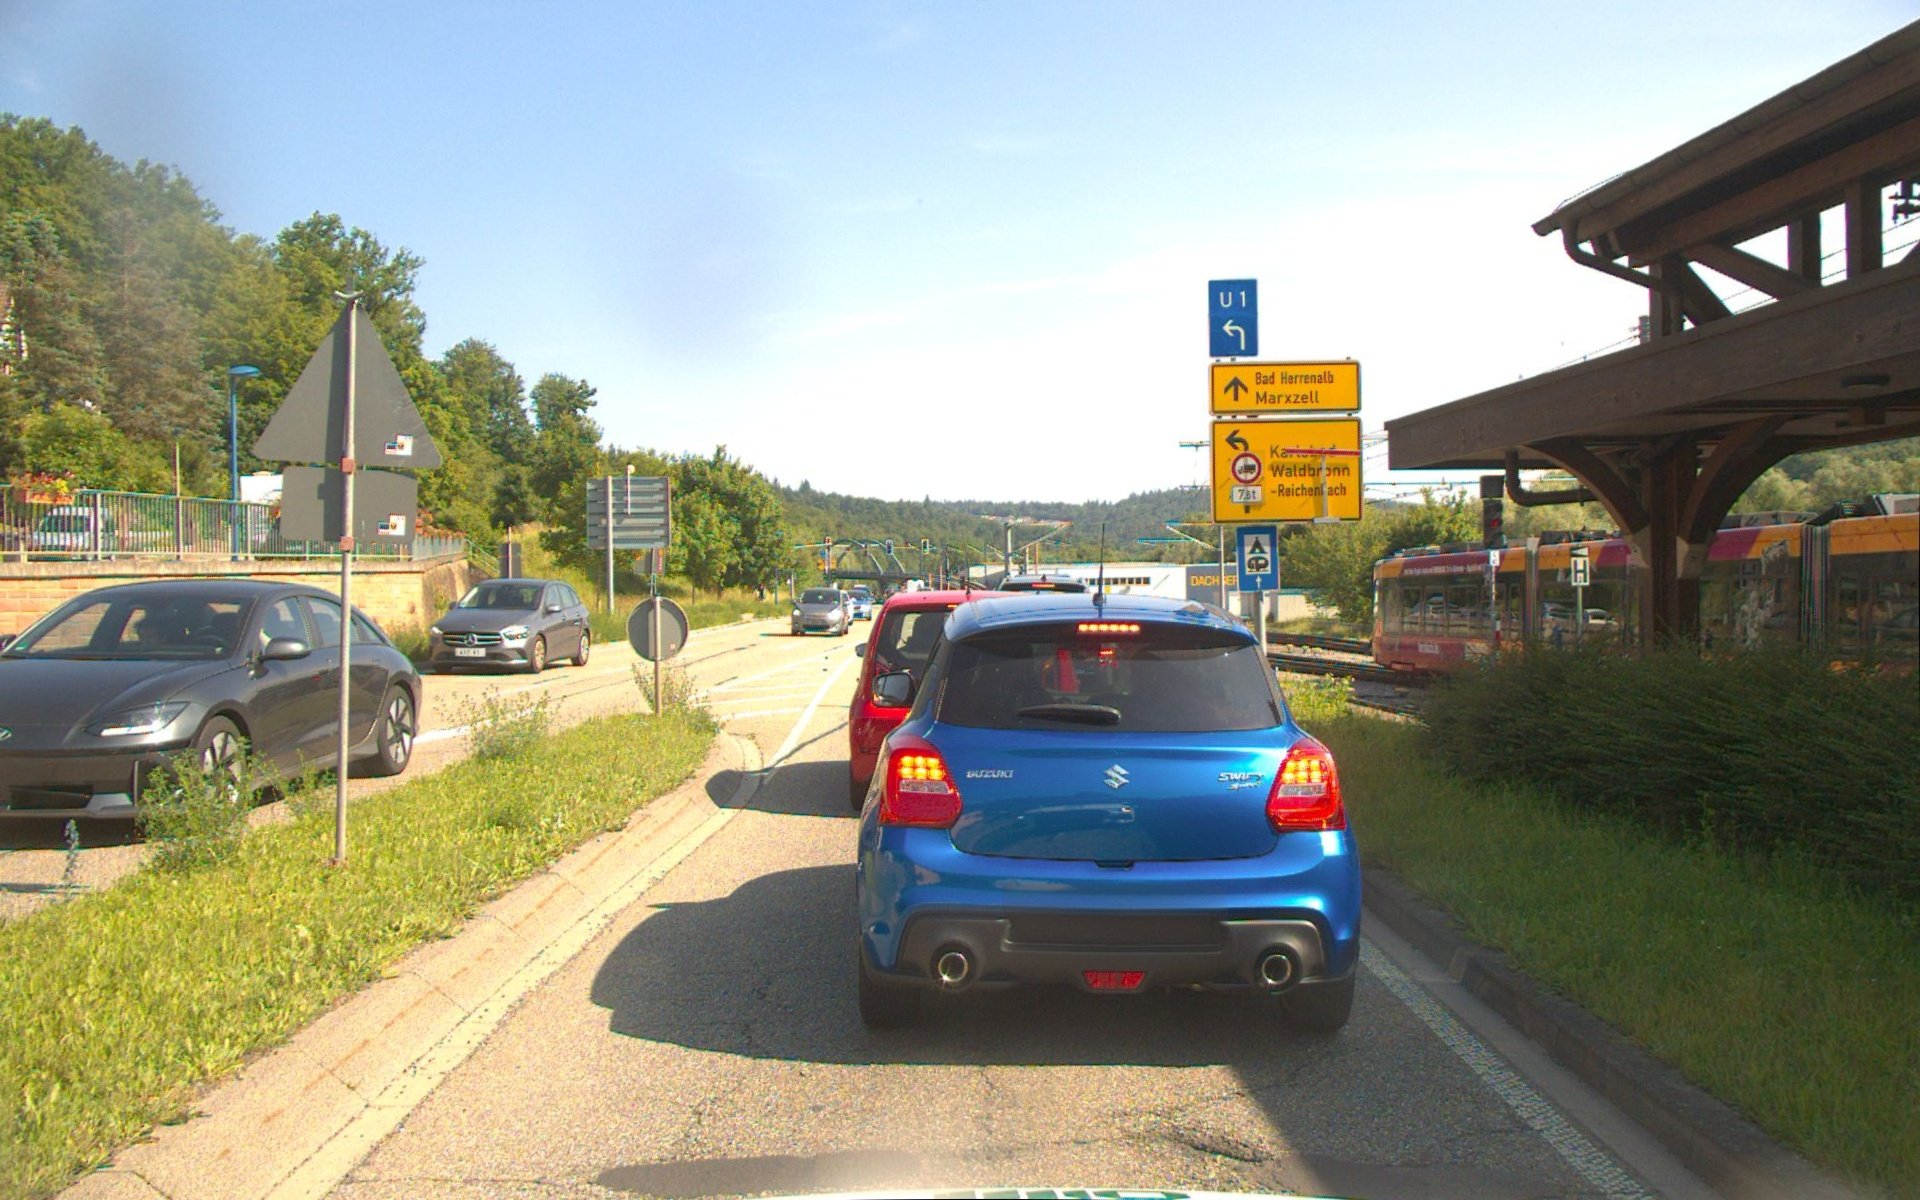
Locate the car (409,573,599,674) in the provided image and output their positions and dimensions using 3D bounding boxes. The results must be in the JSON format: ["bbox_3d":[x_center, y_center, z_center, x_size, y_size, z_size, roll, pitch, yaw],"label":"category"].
[{"bbox_3d":[-7.789,0.354,28.704,1.952,1.591,4.510,1,1,1],"label":"car"}]

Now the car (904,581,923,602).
[{"bbox_3d":[-5.077,-0.915,181.102,1.953,2.181,4.719,1,0,-1],"label":"car"}]

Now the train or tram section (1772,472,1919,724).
[{"bbox_3d":[14.609,0.014,19.006,2.799,3.423,14.345,1,0,-3],"label":"train or tram section"}]

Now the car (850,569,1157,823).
[{"bbox_3d":[0.307,0.616,12.706,1.952,1.598,4.000,1,0,1],"label":"car"}]

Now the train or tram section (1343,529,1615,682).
[{"bbox_3d":[13.251,0.031,43.810,2.701,3.422,12.041,2,1,-3],"label":"train or tram section"}]

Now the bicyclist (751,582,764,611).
[{"bbox_3d":[-10.957,-0.202,89.557,0.617,1.533,0.505,2,1,-4],"label":"bicyclist"}]

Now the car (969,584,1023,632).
[{"bbox_3d":[1.277,0.257,58.633,1.794,1.519,3.812,2,1,1],"label":"car"}]

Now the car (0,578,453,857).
[{"bbox_3d":[-5.136,0.610,11.295,1.754,1.496,4.717,0,0,2],"label":"car"}]

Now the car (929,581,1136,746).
[{"bbox_3d":[0.721,0.580,17.981,1.952,1.558,4.602,0,1,1],"label":"car"}]

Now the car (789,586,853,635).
[{"bbox_3d":[-4.364,0.317,52.362,1.637,1.466,3.840,1,0,1],"label":"car"}]

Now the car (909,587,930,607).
[{"bbox_3d":[-4.009,-0.296,162.771,1.953,1.848,4.000,2,1,-1],"label":"car"}]

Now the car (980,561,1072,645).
[{"bbox_3d":[1.470,0.056,38.112,1.952,1.766,4.000,2,1,1],"label":"car"}]

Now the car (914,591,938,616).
[{"bbox_3d":[-2.931,0.301,143.226,1.953,2.048,4.000,2,1,-1],"label":"car"}]

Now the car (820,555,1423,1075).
[{"bbox_3d":[0.446,0.643,7.039,1.831,1.575,3.999,1,0,-2],"label":"car"}]

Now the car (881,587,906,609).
[{"bbox_3d":[-5.633,-0.196,140.092,1.953,1.814,3.999,1,0,-1],"label":"car"}]

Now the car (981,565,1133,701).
[{"bbox_3d":[1.306,0.414,24.075,1.952,1.716,4.497,2,1,1],"label":"car"}]

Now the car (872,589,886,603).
[{"bbox_3d":[-12.328,-0.611,251.022,1.953,2.049,3.999,1,0,-1],"label":"car"}]

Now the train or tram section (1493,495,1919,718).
[{"bbox_3d":[13.914,0.112,31.978,2.731,3.423,12.041,2,0,-3],"label":"train or tram section"}]

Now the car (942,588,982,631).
[{"bbox_3d":[0.076,0.463,85.327,1.953,2.048,4.000,2,1,-1],"label":"car"}]

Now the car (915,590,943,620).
[{"bbox_3d":[-2.276,0.345,120.958,1.953,2.048,4.000,2,1,-1],"label":"car"}]

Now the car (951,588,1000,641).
[{"bbox_3d":[0.620,0.585,70.461,1.953,2.048,4.000,2,1,-1],"label":"car"}]

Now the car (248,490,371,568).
[{"bbox_3d":[-17.736,-1.903,45.294,1.982,1.953,4.724,2,1,-7],"label":"car"}]

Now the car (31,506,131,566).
[{"bbox_3d":[-26.154,-1.864,49.336,1.864,1.658,3.982,0,1,-16],"label":"car"}]

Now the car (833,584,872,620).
[{"bbox_3d":[-5.228,0.084,80.629,1.796,1.493,3.809,2,3,-3],"label":"car"}]

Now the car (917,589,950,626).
[{"bbox_3d":[-1.634,0.445,101.847,1.953,2.048,4.000,2,1,-1],"label":"car"}]

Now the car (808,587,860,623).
[{"bbox_3d":[-5.226,0.186,69.017,1.795,1.393,3.950,1,1,1],"label":"car"}]
